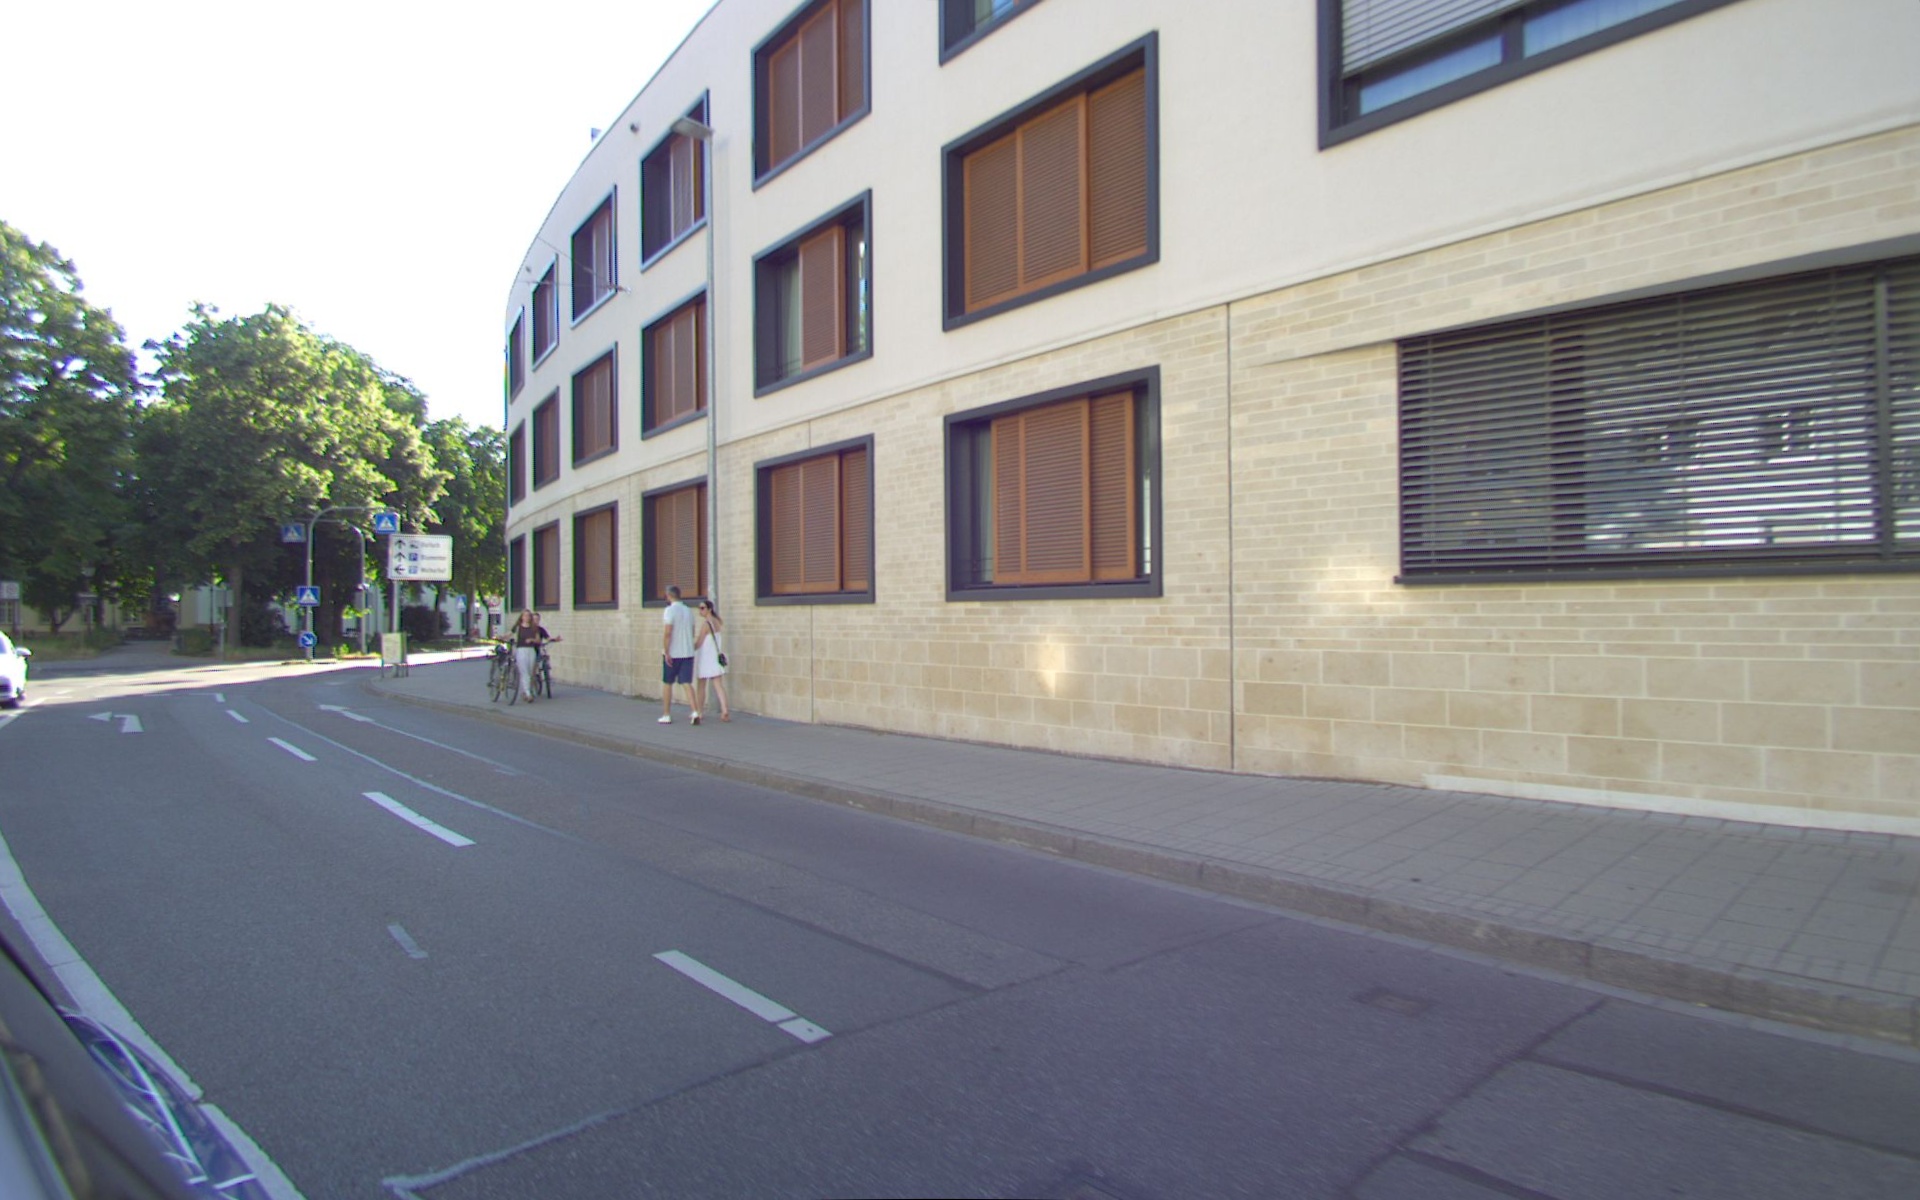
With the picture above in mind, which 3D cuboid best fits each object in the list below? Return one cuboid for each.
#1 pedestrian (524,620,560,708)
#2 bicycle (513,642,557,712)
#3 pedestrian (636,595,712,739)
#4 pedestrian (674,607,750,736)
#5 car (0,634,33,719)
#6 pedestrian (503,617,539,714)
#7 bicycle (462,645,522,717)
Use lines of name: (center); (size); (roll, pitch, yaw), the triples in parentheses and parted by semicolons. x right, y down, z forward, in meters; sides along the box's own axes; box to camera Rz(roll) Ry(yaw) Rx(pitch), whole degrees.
pedestrian: (-7.753, 1.184, 18.754); (0.467, 1.576, 0.604); (-2, -1, -32)
bicycle: (-7.659, 1.363, 18.200); (0.370, 1.176, 1.842); (-2, -1, -33)
pedestrian: (-3.873, 0.871, 13.669); (0.598, 1.863, 0.994); (0, -1, -43)
pedestrian: (-3.462, 0.966, 14.114); (0.694, 1.727, 0.843); (0, -1, -43)
car: (-18.854, 1.421, 19.010); (1.825, 1.475, 4.780); (2, -4, -39)
pedestrian: (-7.759, 1.142, 17.878); (0.467, 1.660, 0.604); (-1, -2, -31)
bicycle: (-8.247, 1.403, 17.788); (0.435, 1.187, 1.970); (0, -3, -40)
